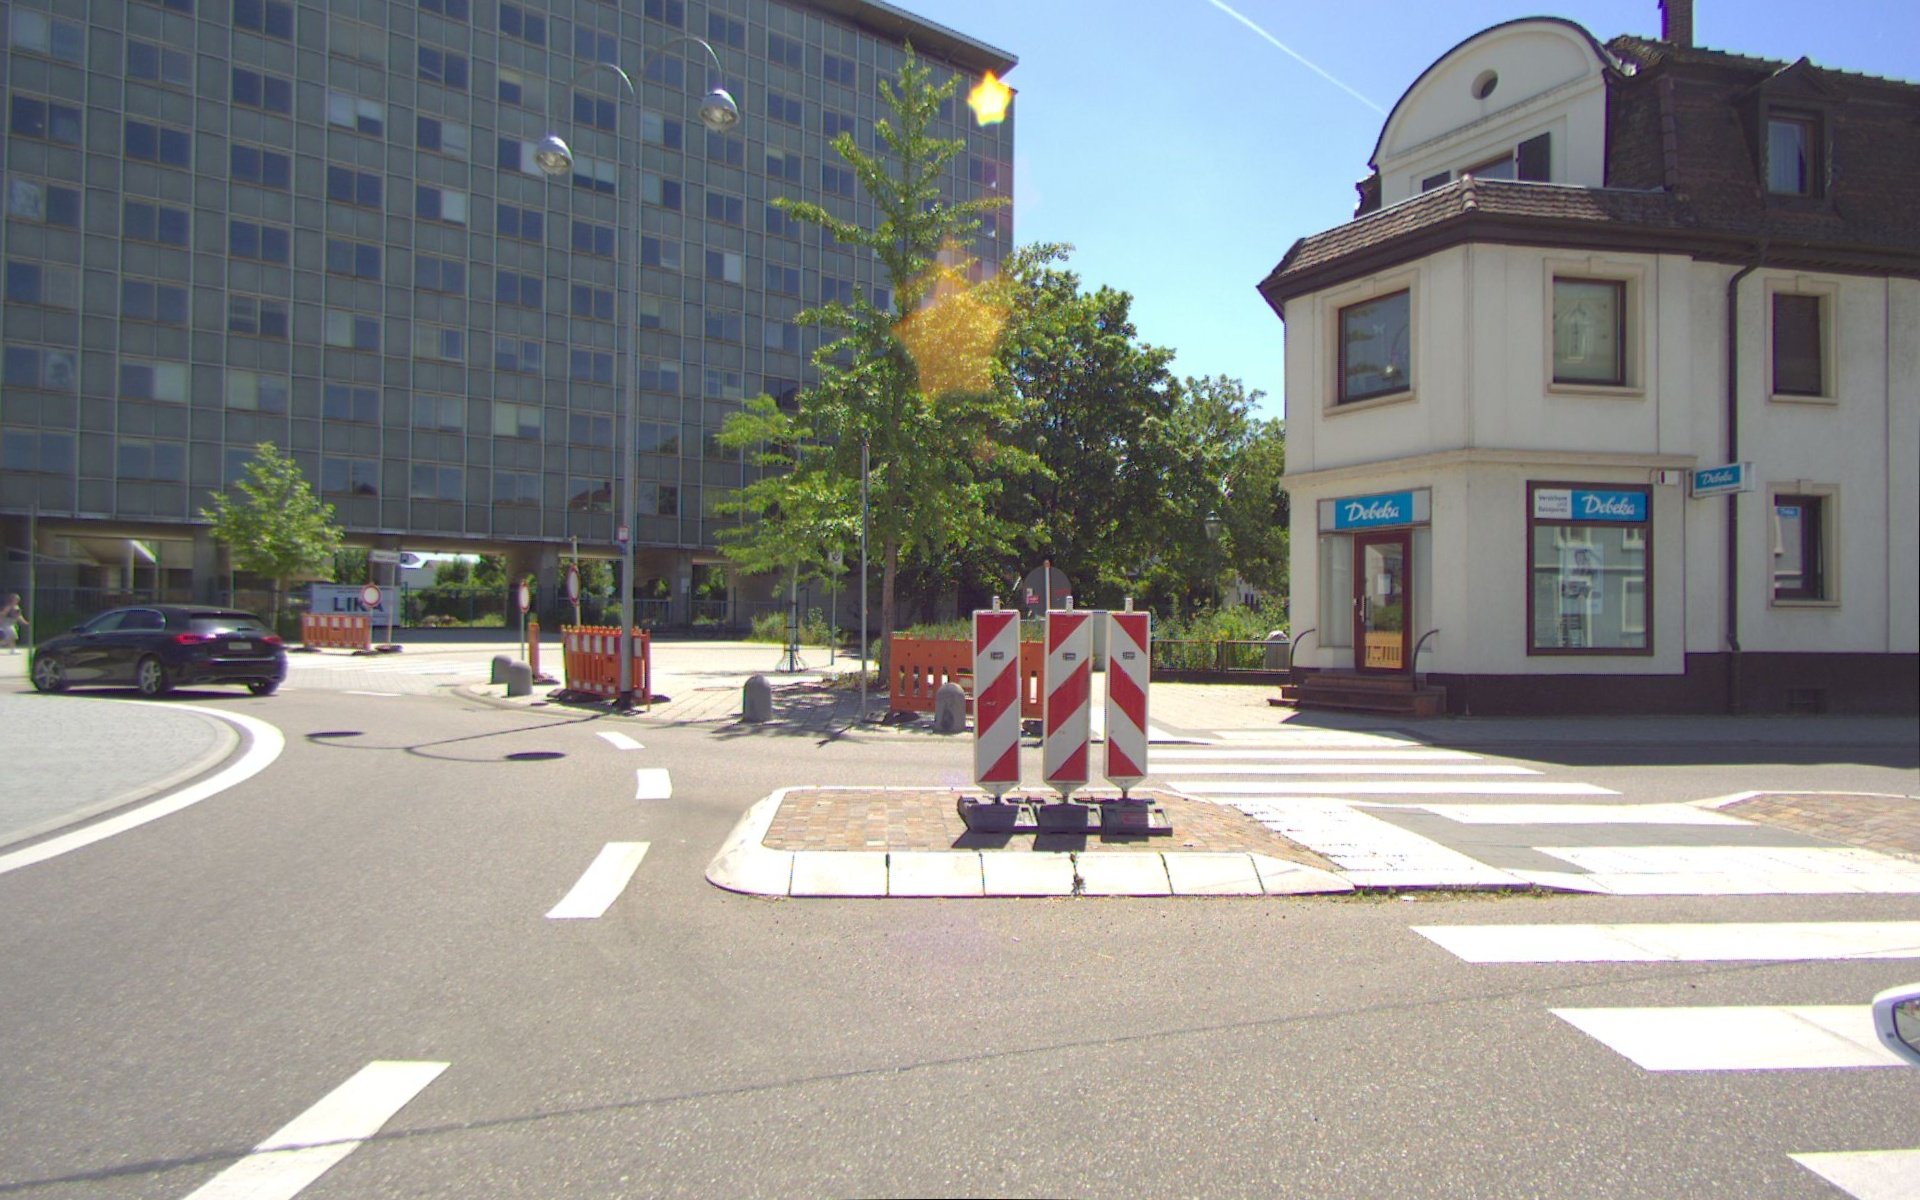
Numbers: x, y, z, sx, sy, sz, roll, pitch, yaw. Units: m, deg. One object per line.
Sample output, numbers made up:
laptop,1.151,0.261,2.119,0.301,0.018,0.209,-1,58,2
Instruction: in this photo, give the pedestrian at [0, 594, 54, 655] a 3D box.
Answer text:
pedestrian,-25.478,0.648,27.063,1.260,1.606,0.946,1,-1,-14

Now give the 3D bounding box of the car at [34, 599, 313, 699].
car,-12.764,0.776,16.318,3.924,1.446,1.959,-1,-3,25
